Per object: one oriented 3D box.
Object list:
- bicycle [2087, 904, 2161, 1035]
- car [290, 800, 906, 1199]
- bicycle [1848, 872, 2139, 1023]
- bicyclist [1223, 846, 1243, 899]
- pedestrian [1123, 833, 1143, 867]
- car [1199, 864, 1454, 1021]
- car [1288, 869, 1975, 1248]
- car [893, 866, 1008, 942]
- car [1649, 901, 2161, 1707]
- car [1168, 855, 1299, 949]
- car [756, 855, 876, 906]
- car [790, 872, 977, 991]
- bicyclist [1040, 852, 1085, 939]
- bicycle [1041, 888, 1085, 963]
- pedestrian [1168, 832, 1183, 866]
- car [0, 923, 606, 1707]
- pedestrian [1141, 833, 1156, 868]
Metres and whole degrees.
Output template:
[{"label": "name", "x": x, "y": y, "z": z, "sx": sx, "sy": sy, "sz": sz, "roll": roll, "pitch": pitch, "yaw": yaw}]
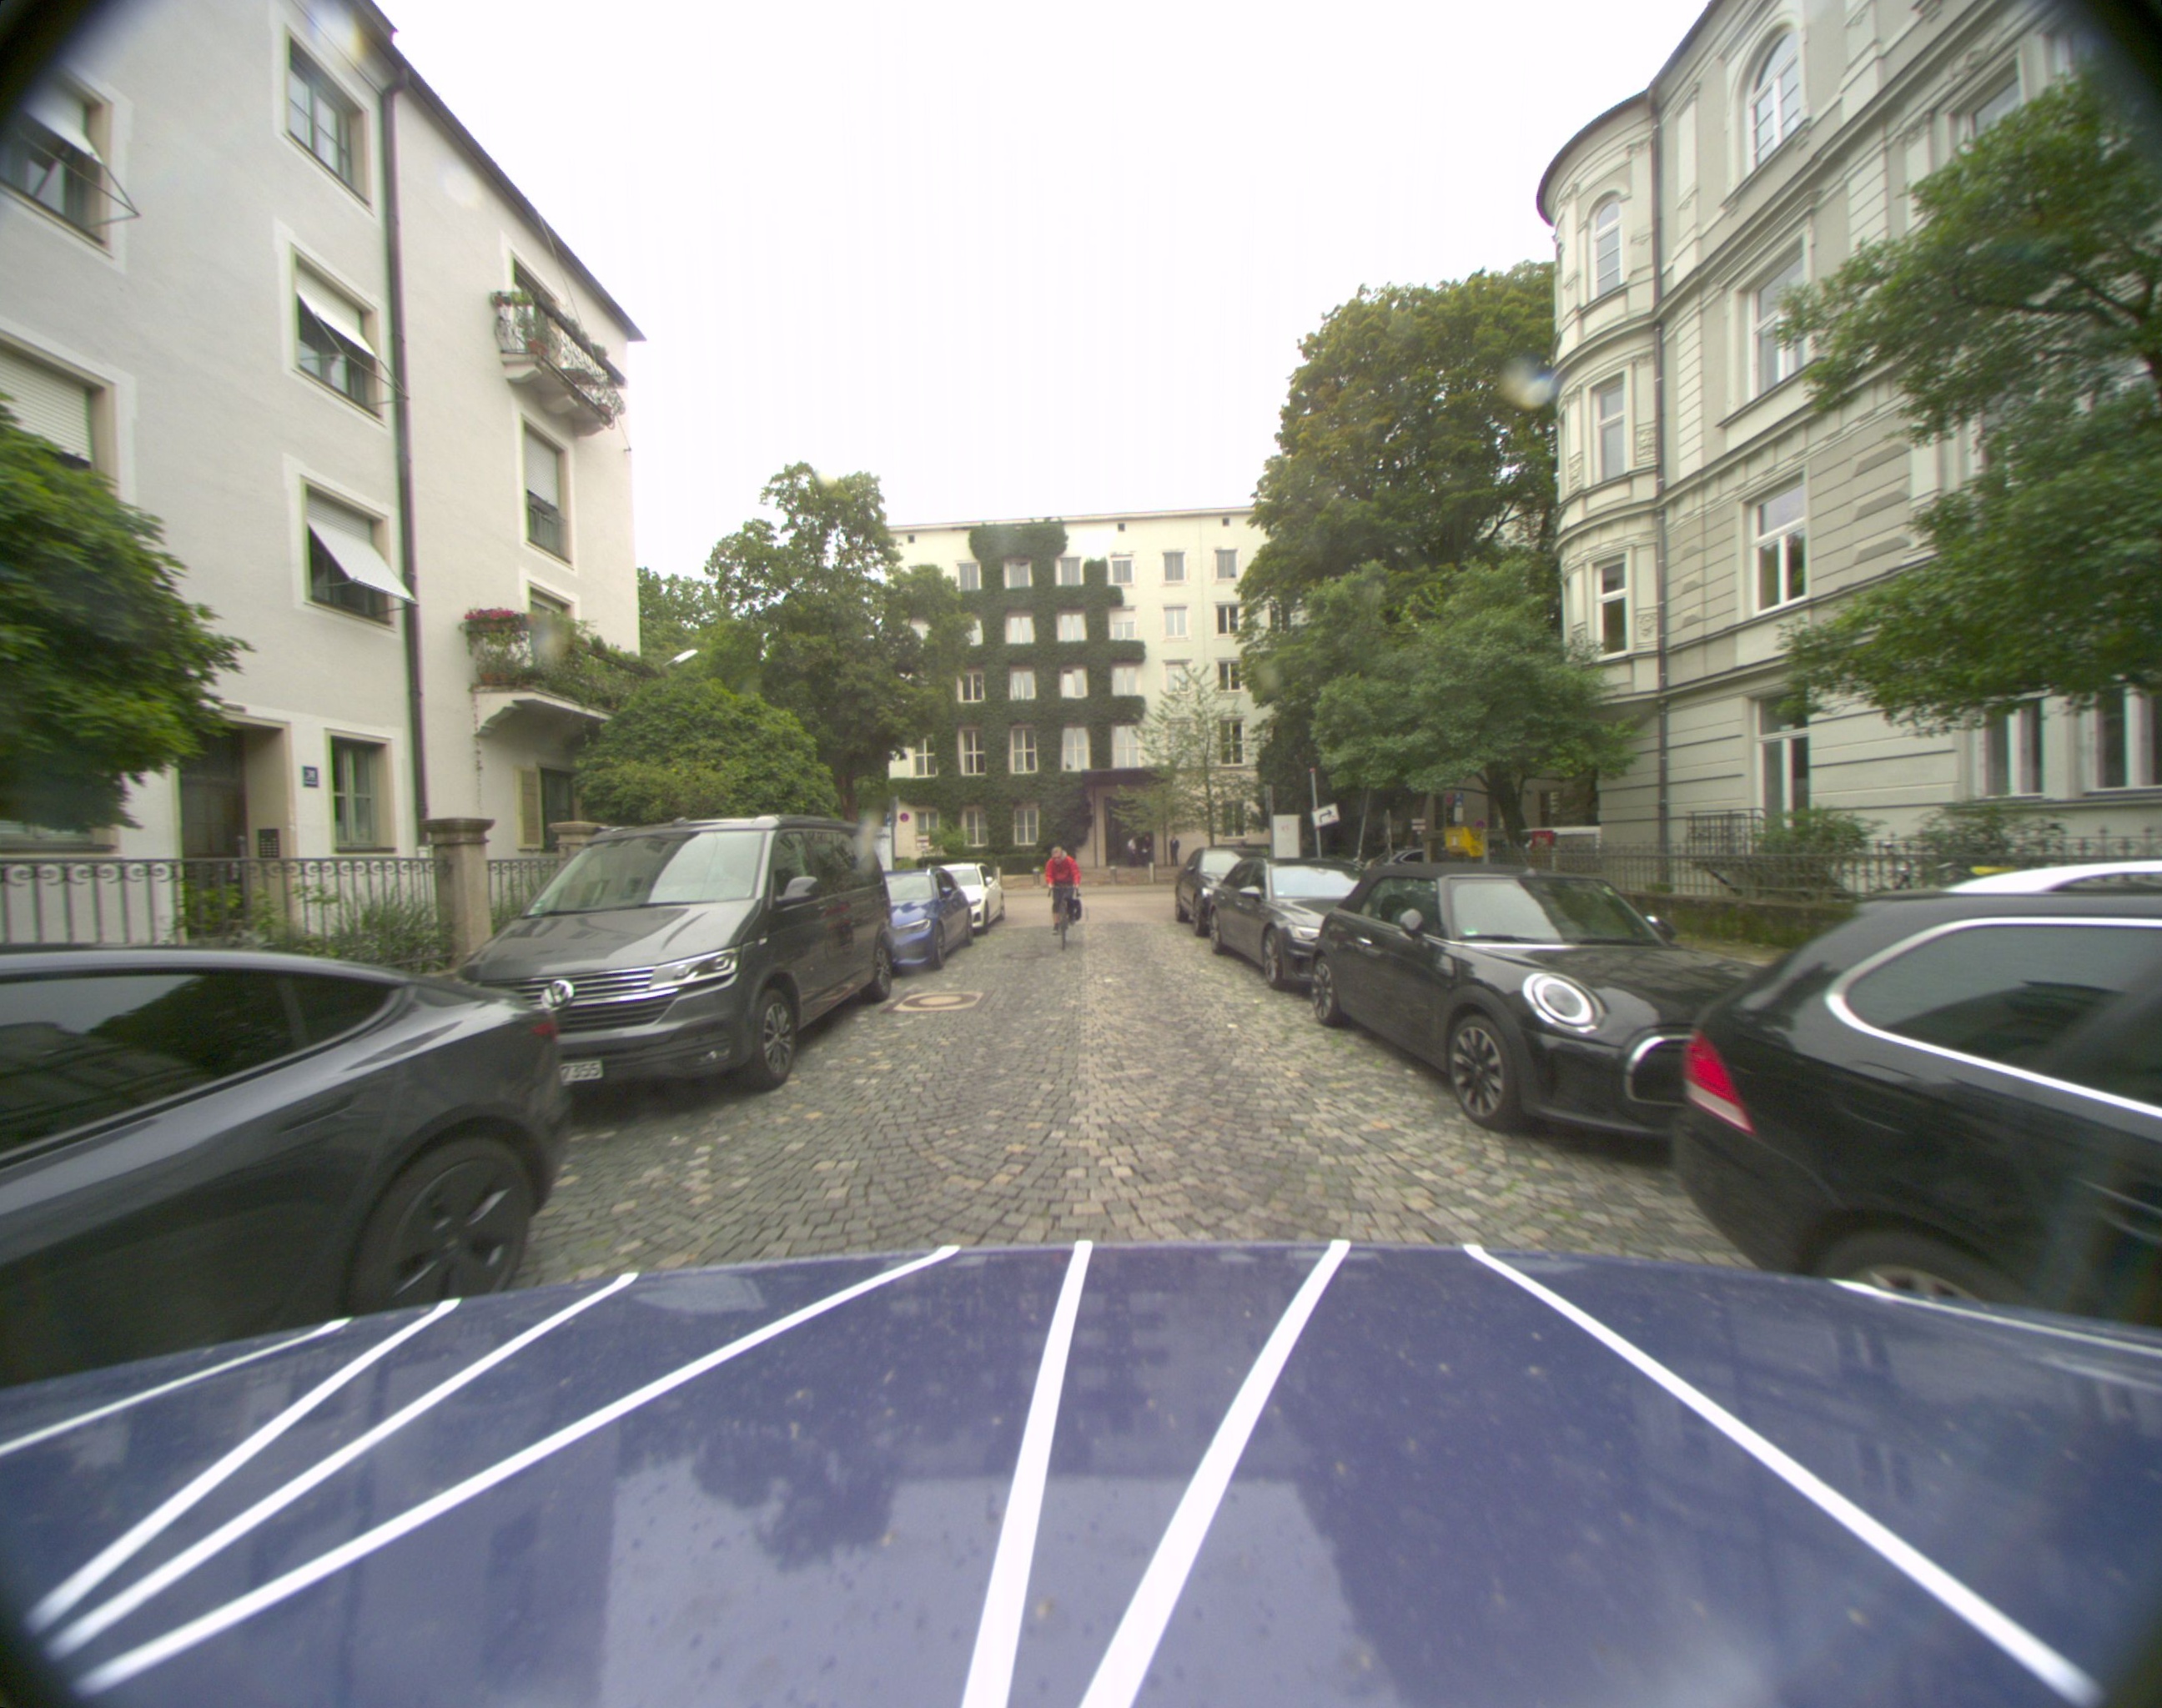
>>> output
[{"label": "bicycle", "x": 7.809, "y": 0.837, "z": 4.827, "sx": 0.439, "sy": 0.868, "sz": 1.790, "roll": -5, "pitch": 1, "yaw": 1}, {"label": "car", "x": -3.107, "y": 0.747, "z": 6.497, "sx": 1.999, "sy": 1.958, "sz": 4.965, "roll": -4, "pitch": 1, "yaw": -1}, {"label": "bicycle", "x": 7.794, "y": 0.733, "z": 6.624, "sx": 0.464, "sy": 1.045, "sz": 1.695, "roll": -5, "pitch": 1, "yaw": 1}, {"label": "bicyclist", "x": 4.916, "y": 0.584, "z": 24.567, "sx": 0.544, "sy": 1.681, "sz": 0.445, "roll": 0, "pitch": 1, "yaw": 1}, {"label": "pedestrian", "x": 2.956, "y": -0.214, "z": 43.239, "sx": 0.703, "sy": 1.905, "sz": 0.861, "roll": -4, "pitch": 1, "yaw": -30}, {"label": "car", "x": 2.814, "y": 0.918, "z": 9.800, "sx": 1.744, "sy": 1.490, "sz": 4.280, "roll": 0, "pitch": 0, "yaw": -3}, {"label": "car", "x": 2.910, "y": 0.911, "z": 5.301, "sx": 1.744, "sy": 1.490, "sz": 4.133, "roll": 0, "pitch": 0, "yaw": -1}, {"label": "car", "x": -2.716, "y": 0.998, "z": 16.727, "sx": 1.744, "sy": 1.367, "sz": 4.281, "roll": 0, "pitch": 0, "yaw": 0}, {"label": "car", "x": 2.668, "y": 0.915, "z": 0.197, "sx": 1.814, "sy": 1.490, "sz": 4.510, "roll": 0, "pitch": 0, "yaw": 3}, {"label": "car", "x": 2.873, "y": 0.839, "z": 15.231, "sx": 1.744, "sy": 1.572, "sz": 4.281, "roll": 0, "pitch": 0, "yaw": -1}, {"label": "car", "x": -10.394, "y": 1.020, "z": 30.038, "sx": 3.998, "sy": 1.671, "sz": 1.899, "roll": -3, "pitch": 1, "yaw": -2}, {"label": "car", "x": -2.774, "y": 1.024, "z": 11.659, "sx": 1.744, "sy": 1.367, "sz": 4.181, "roll": 0, "pitch": 0, "yaw": 0}, {"label": "bicyclist", "x": -0.296, "y": 0.663, "z": 12.416, "sx": 0.648, "sy": 1.350, "sz": 0.656, "roll": -3, "pitch": 1, "yaw": 0}, {"label": "bicycle", "x": -0.279, "y": 1.143, "z": 12.619, "sx": 0.636, "sy": 1.021, "sz": 1.955, "roll": -2, "pitch": 1, "yaw": 0}, {"label": "pedestrian", "x": 5.375, "y": -0.288, "z": 43.185, "sx": 0.665, "sy": 1.905, "sz": 0.863, "roll": -3, "pitch": 1, "yaw": 9}, {"label": "car", "x": -3.069, "y": 1.082, "z": 0.896, "sx": 1.942, "sy": 1.457, "sz": 4.532, "roll": -3, "pitch": 0, "yaw": 3}, {"label": "pedestrian", "x": 3.834, "y": -0.212, "z": 43.272, "sx": 0.701, "sy": 1.905, "sz": 0.863, "roll": -3, "pitch": 1, "yaw": 3}]
